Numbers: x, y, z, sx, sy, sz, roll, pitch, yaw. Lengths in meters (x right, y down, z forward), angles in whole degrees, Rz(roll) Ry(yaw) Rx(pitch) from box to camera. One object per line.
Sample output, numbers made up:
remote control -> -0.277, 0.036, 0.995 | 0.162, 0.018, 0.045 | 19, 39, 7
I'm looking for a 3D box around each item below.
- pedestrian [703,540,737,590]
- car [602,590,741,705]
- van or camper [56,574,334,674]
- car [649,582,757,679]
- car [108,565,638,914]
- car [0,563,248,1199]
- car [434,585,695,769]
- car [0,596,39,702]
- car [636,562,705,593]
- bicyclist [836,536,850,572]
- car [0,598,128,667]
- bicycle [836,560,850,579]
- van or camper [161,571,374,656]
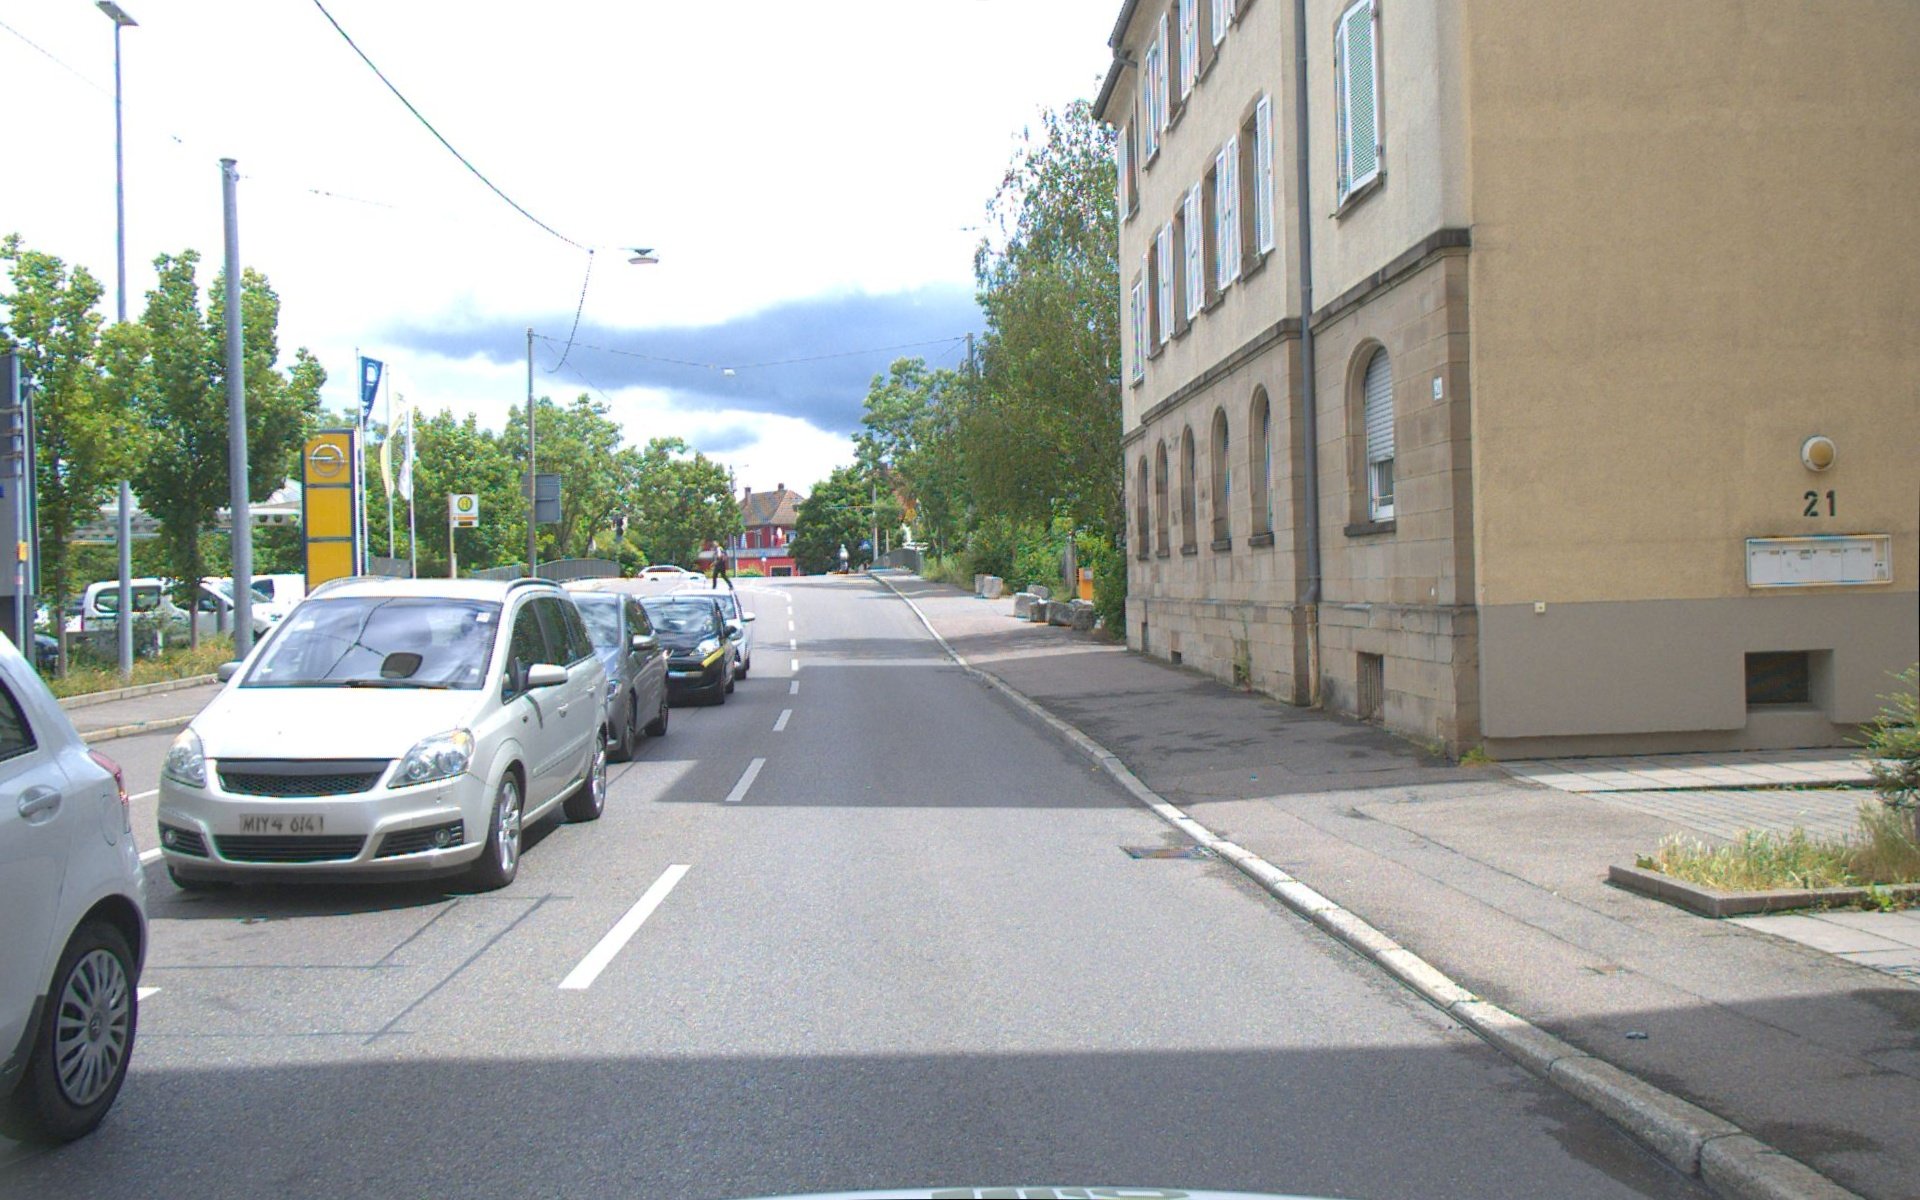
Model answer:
pedestrian -> -9.036, -1.324, 62.357 | 1.011, 1.869, 1.000 | 0, 2, 9
car -> -4.013, 0.631, 23.452 | 1.686, 1.510, 3.318 | 0, 0, -6
van or camper -> -15.262, 0.457, 33.177 | 4.573, 1.780, 2.000 | -2, 1, -1
car -> -4.516, 0.519, 29.516 | 1.686, 1.609, 3.995 | 0, 0, -6
car -> -3.136, 0.657, 9.829 | 1.684, 1.609, 4.317 | 0, 0, -1
car -> -3.081, 0.708, 3.258 | 1.684, 1.609, 3.999 | 0, 0, -1
car -> -3.825, 0.691, 16.703 | 1.684, 1.609, 4.249 | 0, 0, -1
car -> -15.658, 0.773, 23.787 | 3.760, 1.486, 1.770 | -2, 1, -7
car -> -19.372, -1.484, 110.550 | 4.345, 1.863, 1.992 | 2, -1, -15
bicyclist -> -6.426, -2.510, 90.853 | 0.671, 1.858, 1.080 | -1, -4, -1
car -> -21.902, 0.765, 38.753 | 3.968, 1.492, 1.789 | -2, 1, -43
bicycle -> -6.418, -1.664, 90.846 | 0.673, 0.894, 2.101 | -1, -4, -1
van or camper -> -17.667, 0.288, 42.477 | 1.945, 1.997, 4.954 | 0, 2, 27
